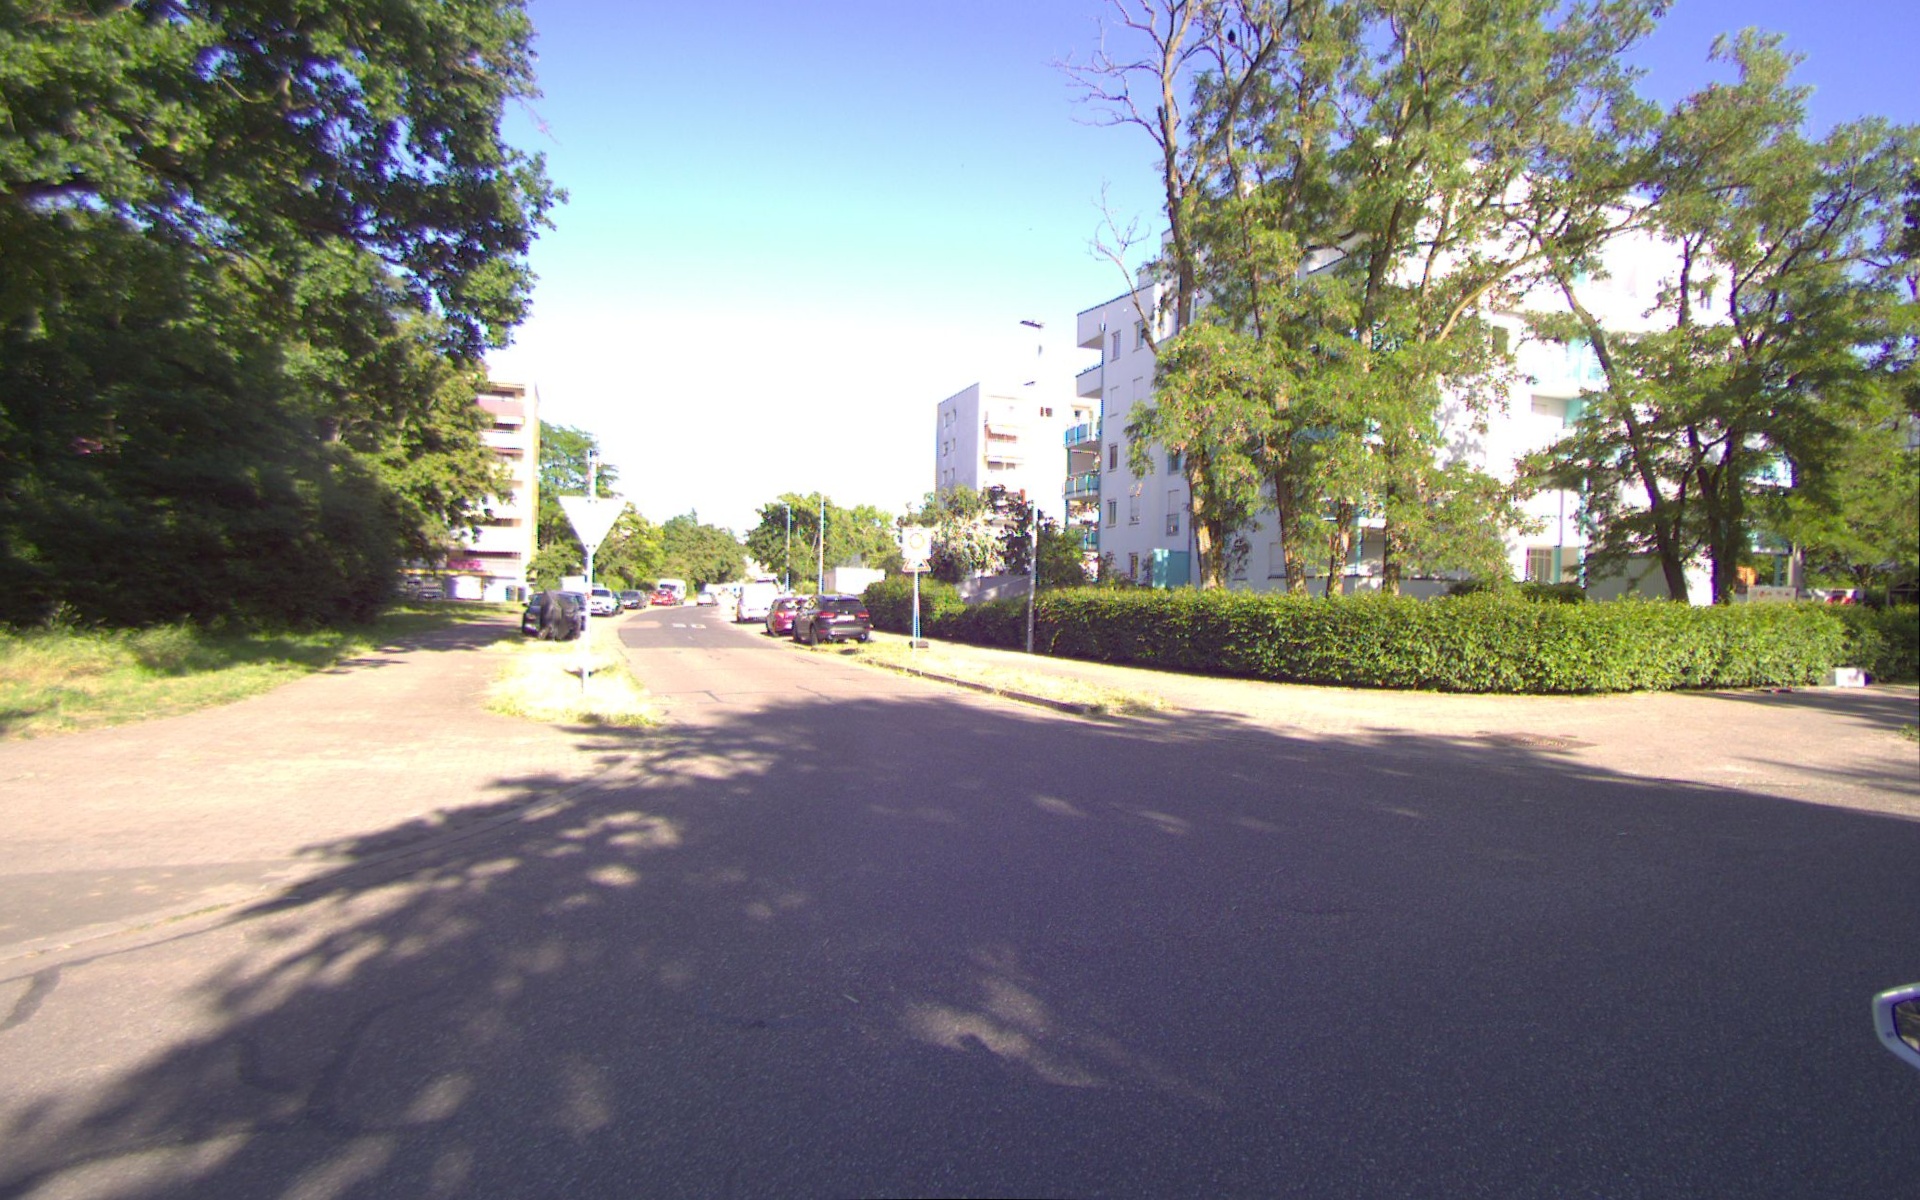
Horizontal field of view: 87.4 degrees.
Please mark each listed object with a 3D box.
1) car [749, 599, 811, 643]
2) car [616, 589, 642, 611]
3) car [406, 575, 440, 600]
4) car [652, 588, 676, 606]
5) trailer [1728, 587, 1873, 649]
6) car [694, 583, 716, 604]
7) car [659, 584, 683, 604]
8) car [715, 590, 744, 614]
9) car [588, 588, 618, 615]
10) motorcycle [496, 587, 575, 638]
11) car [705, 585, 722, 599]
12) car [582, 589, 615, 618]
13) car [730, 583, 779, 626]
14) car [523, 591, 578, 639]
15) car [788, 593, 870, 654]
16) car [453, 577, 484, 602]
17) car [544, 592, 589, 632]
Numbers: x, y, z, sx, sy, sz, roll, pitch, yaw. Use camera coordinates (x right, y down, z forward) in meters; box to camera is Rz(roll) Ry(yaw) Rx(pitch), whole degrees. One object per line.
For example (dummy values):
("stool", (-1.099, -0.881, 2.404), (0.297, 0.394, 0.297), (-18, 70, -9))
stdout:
("car", (-7.012, 0.792, 38.785), (1.614, 1.531, 3.816), (1, 1, -22))
("car", (-25.113, -0.038, 76.152), (1.621, 1.578, 3.816), (1, 1, -22))
("car", (-39.231, -0.906, 73.398), (1.737, 1.767, 3.816), (1, 1, -22))
("car", (-27.739, -0.295, 94.226), (1.795, 1.617, 3.991), (1, 0, -11))
("trailer", (29.517, 0.636, 35.293), (4.362, 2.070, 1.974), (1, 0, -20))
("car", (-25.434, -0.683, 100.445), (1.898, 2.040, 3.991), (1, 1, -12))
("car", (-28.547, -0.624, 99.314), (1.949, 1.925, 3.991), (1, 1, -11))
("car", (-15.425, 0.132, 67.229), (1.498, 1.486, 3.058), (1, 1, -21))
("car", (-22.122, 0.098, 62.219), (1.621, 1.578, 3.816), (1, 1, -22))
("motorcycle", (-11.845, 0.336, 28.050), (0.664, 1.362, 1.954), (2, 1, 37))
("car", (-31.588, -1.060, 128.705), (1.859, 1.662, 3.993), (1, 0, -10))
("car", (-20.489, 0.179, 56.804), (1.621, 1.578, 3.816), (1, 1, -22))
("car", (-10.702, 0.201, 52.075), (1.801, 2.088, 3.816), (1, 1, -22))
("car", (-13.064, 0.454, 32.128), (1.537, 1.410, 3.570), (1, 1, -22))
("car", (-4.293, 0.723, 32.425), (1.731, 1.808, 3.816), (1, 1, -22))
("car", (-36.260, -0.783, 74.226), (1.737, 1.767, 3.816), (1, 1, -22))
("car", (-15.135, 0.443, 38.626), (1.537, 1.410, 3.570), (1, 1, -22))
